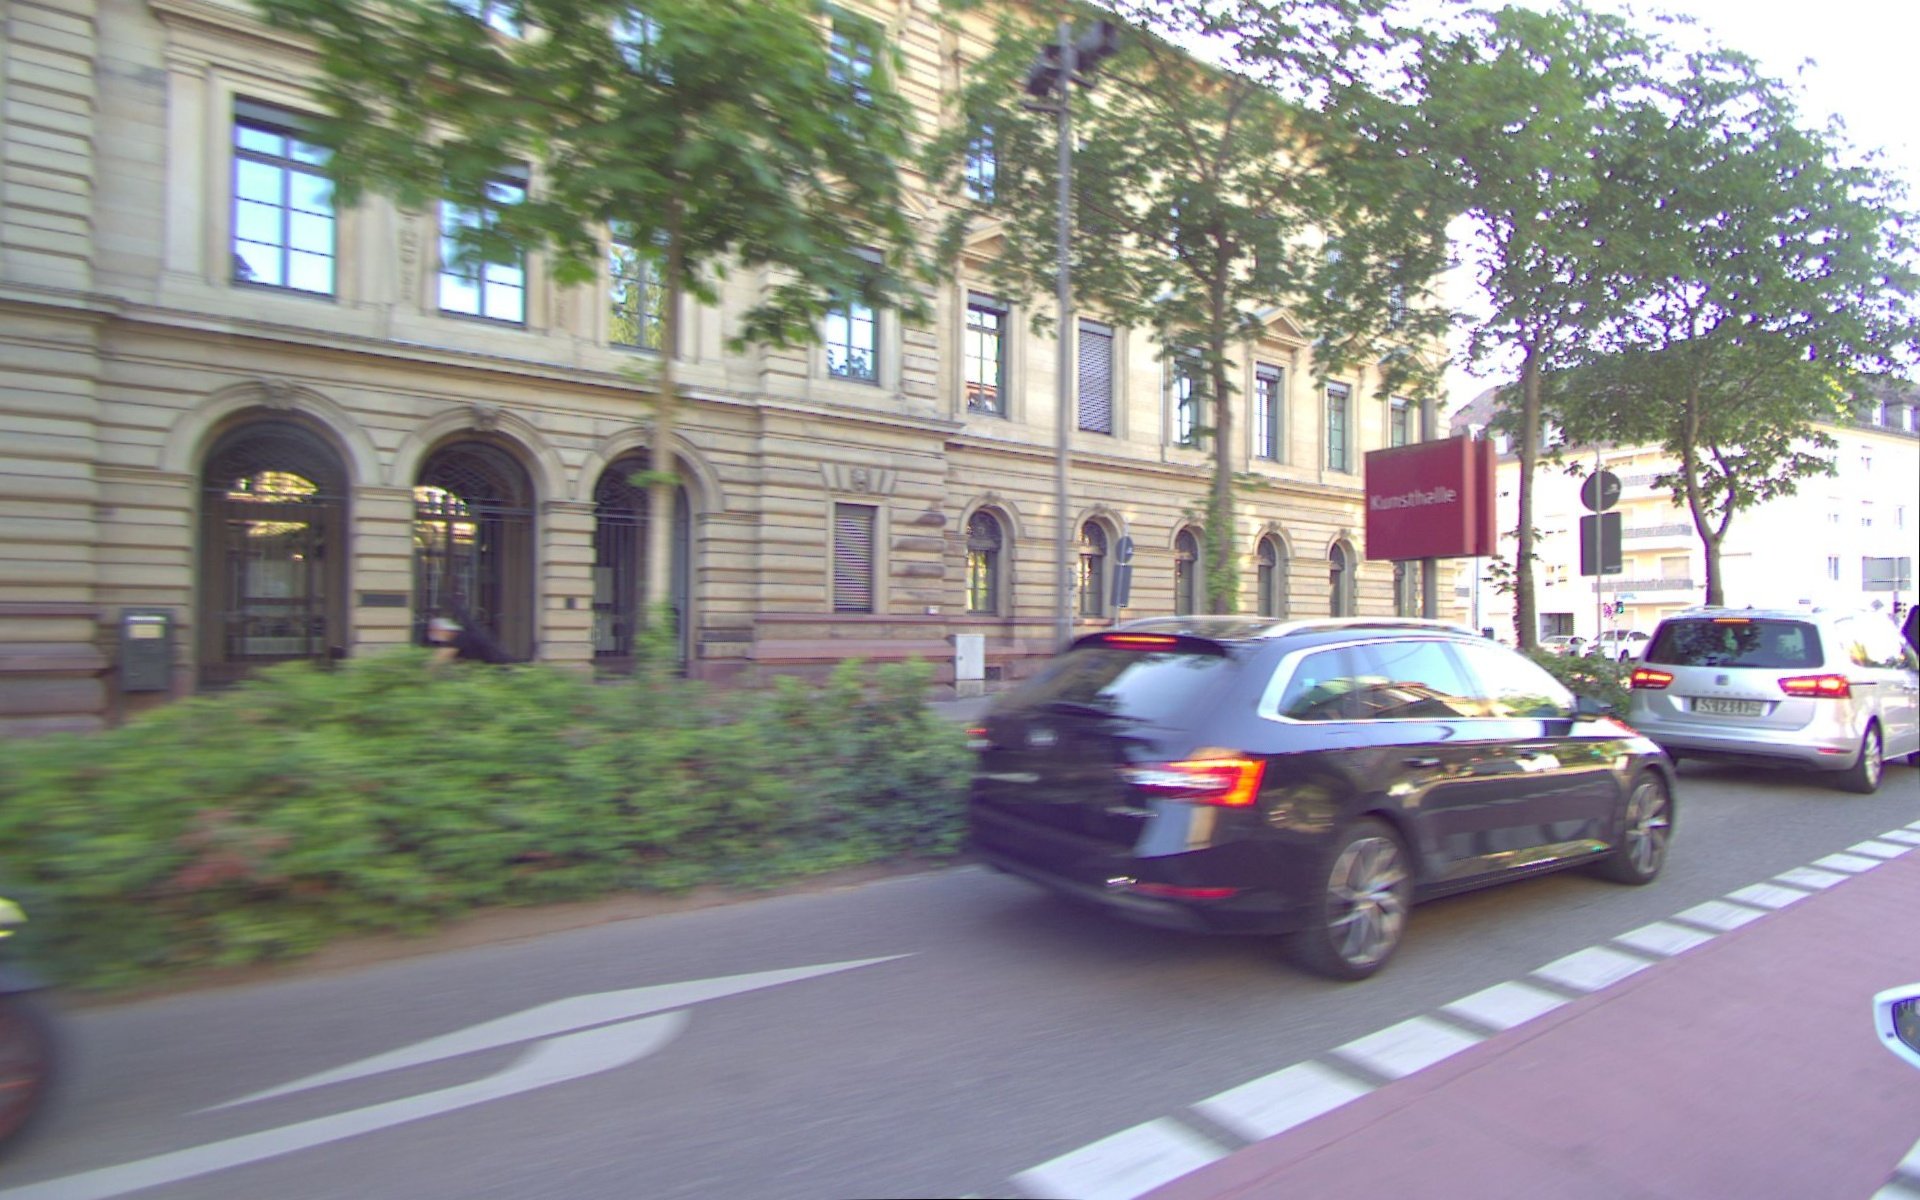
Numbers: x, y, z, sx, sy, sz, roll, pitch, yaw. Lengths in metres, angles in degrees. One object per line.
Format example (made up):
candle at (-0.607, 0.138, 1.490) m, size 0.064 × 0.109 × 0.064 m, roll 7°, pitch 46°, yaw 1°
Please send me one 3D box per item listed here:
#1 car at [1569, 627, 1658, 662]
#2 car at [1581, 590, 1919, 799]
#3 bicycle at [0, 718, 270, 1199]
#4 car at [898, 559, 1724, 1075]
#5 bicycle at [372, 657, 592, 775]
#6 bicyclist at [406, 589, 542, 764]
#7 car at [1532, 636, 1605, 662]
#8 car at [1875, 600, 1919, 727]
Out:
car at (32.967, 2.207, 50.630) m, size 4.561 × 1.708 × 1.984 m, roll 1°, pitch -2°, yaw -31°
car at (8.798, 0.871, 10.662) m, size 4.698 × 1.772 × 1.979 m, roll 1°, pitch -2°, yaw -34°
bicycle at (-3.039, 0.889, 2.250) m, size 2.428 × 1.056 × 0.865 m, roll 1°, pitch -1°, yaw -34°
car at (2.153, 0.783, 5.493) m, size 4.691 × 1.679 × 1.980 m, roll 1°, pitch -2°, yaw -36°
bicycle at (-5.408, 1.277, 11.422) m, size 2.152 × 1.209 × 0.876 m, roll 2°, pitch -5°, yaw -34°
bicyclist at (-5.516, 0.856, 11.408) m, size 1.272 × 1.858 × 0.876 m, roll 1°, pitch -5°, yaw -34°
car at (31.919, 2.547, 52.650) m, size 3.953 × 1.327 × 1.598 m, roll 1°, pitch -2°, yaw -31°
car at (17.082, 1.028, 16.416) m, size 4.982 × 1.940 × 2.055 m, roll 2°, pitch -3°, yaw -35°
